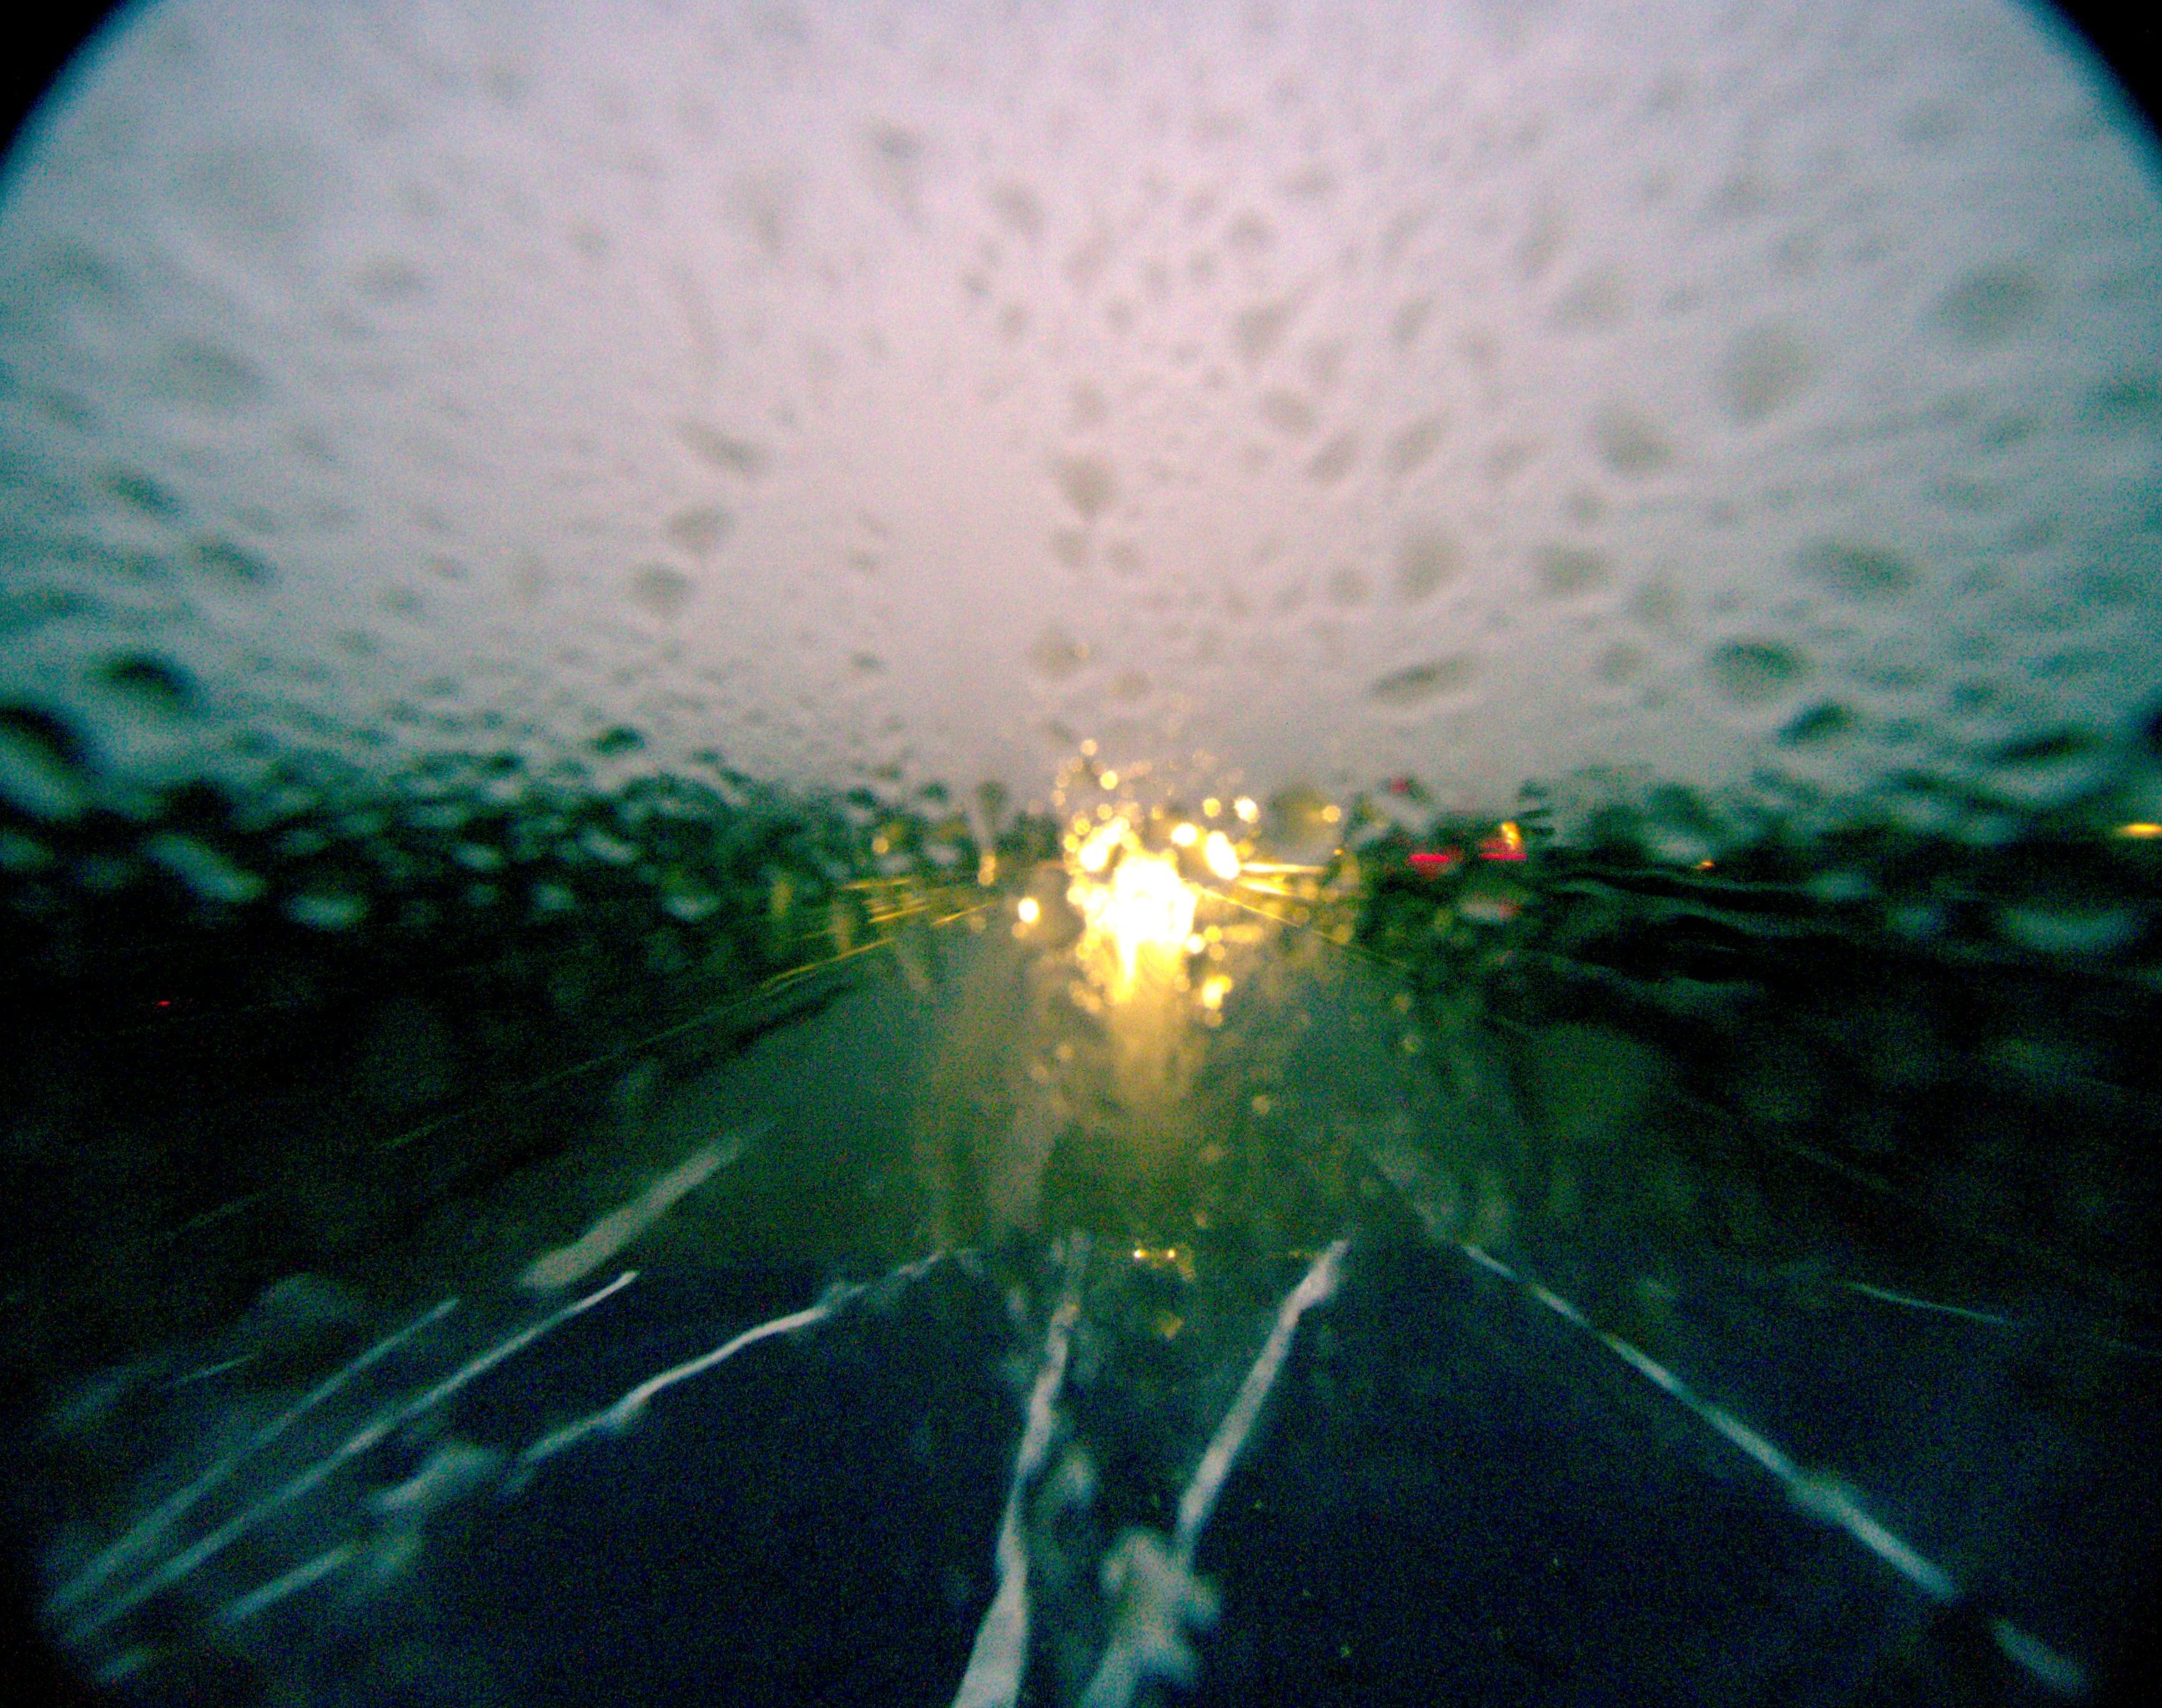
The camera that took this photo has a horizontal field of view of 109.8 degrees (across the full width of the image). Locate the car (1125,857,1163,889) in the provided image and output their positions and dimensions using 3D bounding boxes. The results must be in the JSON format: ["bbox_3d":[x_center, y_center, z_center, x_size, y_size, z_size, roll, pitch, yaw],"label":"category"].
[{"bbox_3d":[3.264,0.962,39.832,1.886,1.514,4.000,-1,1,4],"label":"car"}]

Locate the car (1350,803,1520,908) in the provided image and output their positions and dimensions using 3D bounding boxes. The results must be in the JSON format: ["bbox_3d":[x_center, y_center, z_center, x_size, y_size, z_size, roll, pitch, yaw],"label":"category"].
[{"bbox_3d":[8.761,-0.006,19.441,2.054,2.250,5.207,-2,1,2],"label":"car"}]
